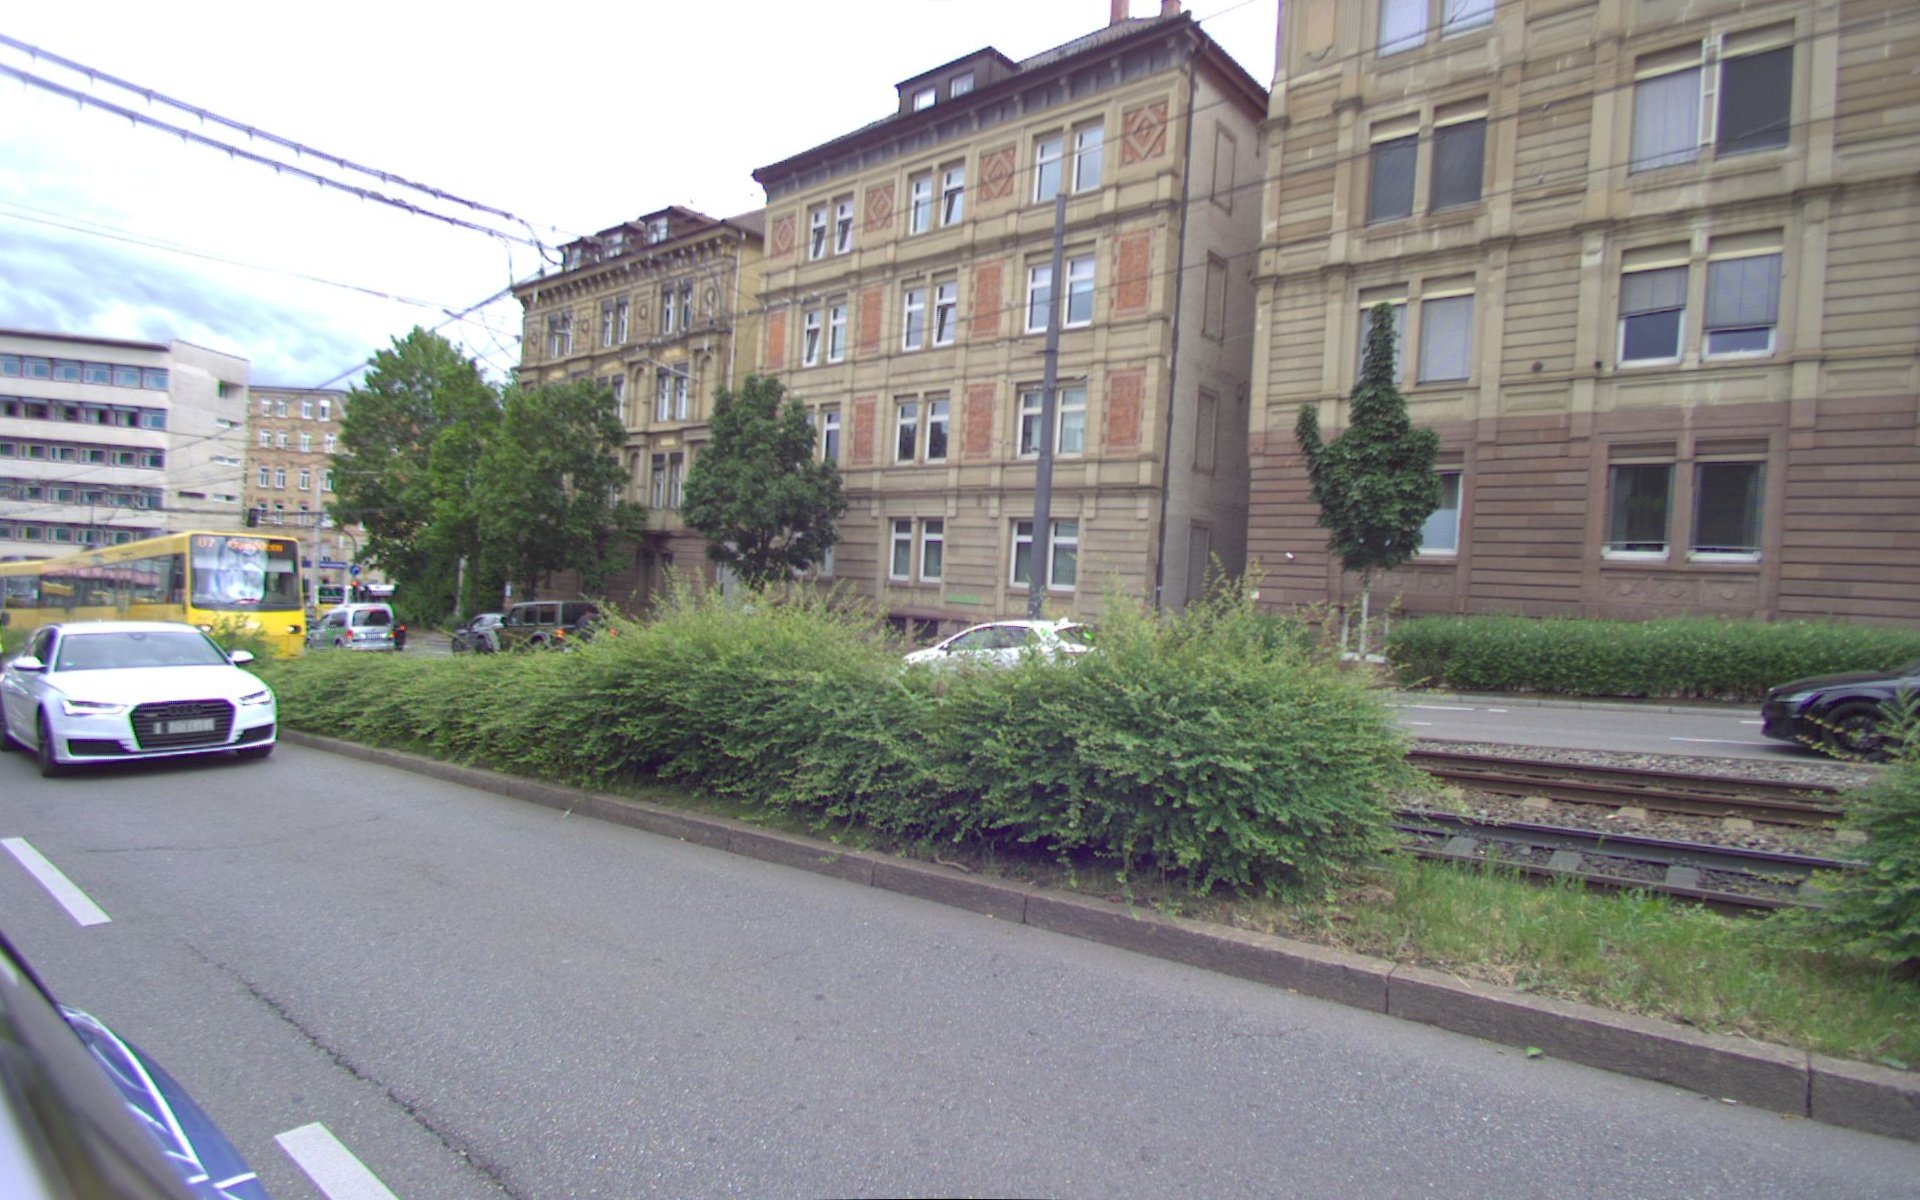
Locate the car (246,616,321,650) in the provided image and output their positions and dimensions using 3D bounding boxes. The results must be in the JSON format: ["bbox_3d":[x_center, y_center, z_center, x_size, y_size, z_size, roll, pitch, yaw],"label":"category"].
[{"bbox_3d":[-31.905,1.518,47.700,4.401,1.437,1.725,0,1,39],"label":"car"}]

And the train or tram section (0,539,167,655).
[{"bbox_3d":[-33.649,-0.194,37.389,14.196,3.691,2.857,1,1,35],"label":"train or tram section"}]

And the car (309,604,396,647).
[{"bbox_3d":[-29.852,1.219,49.689,4.986,1.863,1.975,2,1,38],"label":"car"}]

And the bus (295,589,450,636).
[{"bbox_3d":[-41.896,0.823,72.884,3.350,3.052,11.522,0,0,7],"label":"bus"}]

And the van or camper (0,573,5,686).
[{"bbox_3d":[-24.973,0.615,24.583,6.375,2.577,2.179,2,3,43],"label":"van or camper"}]

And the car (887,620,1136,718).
[{"bbox_3d":[0.821,1.107,17.521,4.060,1.499,1.724,-1,-2,37],"label":"car"}]

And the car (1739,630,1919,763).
[{"bbox_3d":[10.717,0.983,10.550,4.060,1.332,1.724,-1,-2,37],"label":"car"}]

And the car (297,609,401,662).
[{"bbox_3d":[-22.304,1.261,36.883,4.513,1.801,1.860,-1,0,40],"label":"car"}]

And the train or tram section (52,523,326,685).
[{"bbox_3d":[-22.392,-0.023,28.770,14.460,3.691,2.853,1,1,39],"label":"train or tram section"}]

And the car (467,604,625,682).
[{"bbox_3d":[-11.052,1.099,26.865,4.638,1.890,1.880,-1,-2,39],"label":"car"}]

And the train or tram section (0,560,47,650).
[{"bbox_3d":[-45.722,0.116,44.840,14.155,3.691,2.865,1,1,27],"label":"train or tram section"}]

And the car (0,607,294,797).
[{"bbox_3d":[-8.983,0.888,10.815,4.527,1.486,1.873,1,2,39],"label":"car"}]

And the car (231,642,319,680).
[{"bbox_3d":[-29.237,2.610,43.121,4.942,1.461,1.801,-4,-1,40],"label":"car"}]

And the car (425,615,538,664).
[{"bbox_3d":[-16.780,1.341,35.439,4.433,1.566,1.846,0,-2,39],"label":"car"}]
